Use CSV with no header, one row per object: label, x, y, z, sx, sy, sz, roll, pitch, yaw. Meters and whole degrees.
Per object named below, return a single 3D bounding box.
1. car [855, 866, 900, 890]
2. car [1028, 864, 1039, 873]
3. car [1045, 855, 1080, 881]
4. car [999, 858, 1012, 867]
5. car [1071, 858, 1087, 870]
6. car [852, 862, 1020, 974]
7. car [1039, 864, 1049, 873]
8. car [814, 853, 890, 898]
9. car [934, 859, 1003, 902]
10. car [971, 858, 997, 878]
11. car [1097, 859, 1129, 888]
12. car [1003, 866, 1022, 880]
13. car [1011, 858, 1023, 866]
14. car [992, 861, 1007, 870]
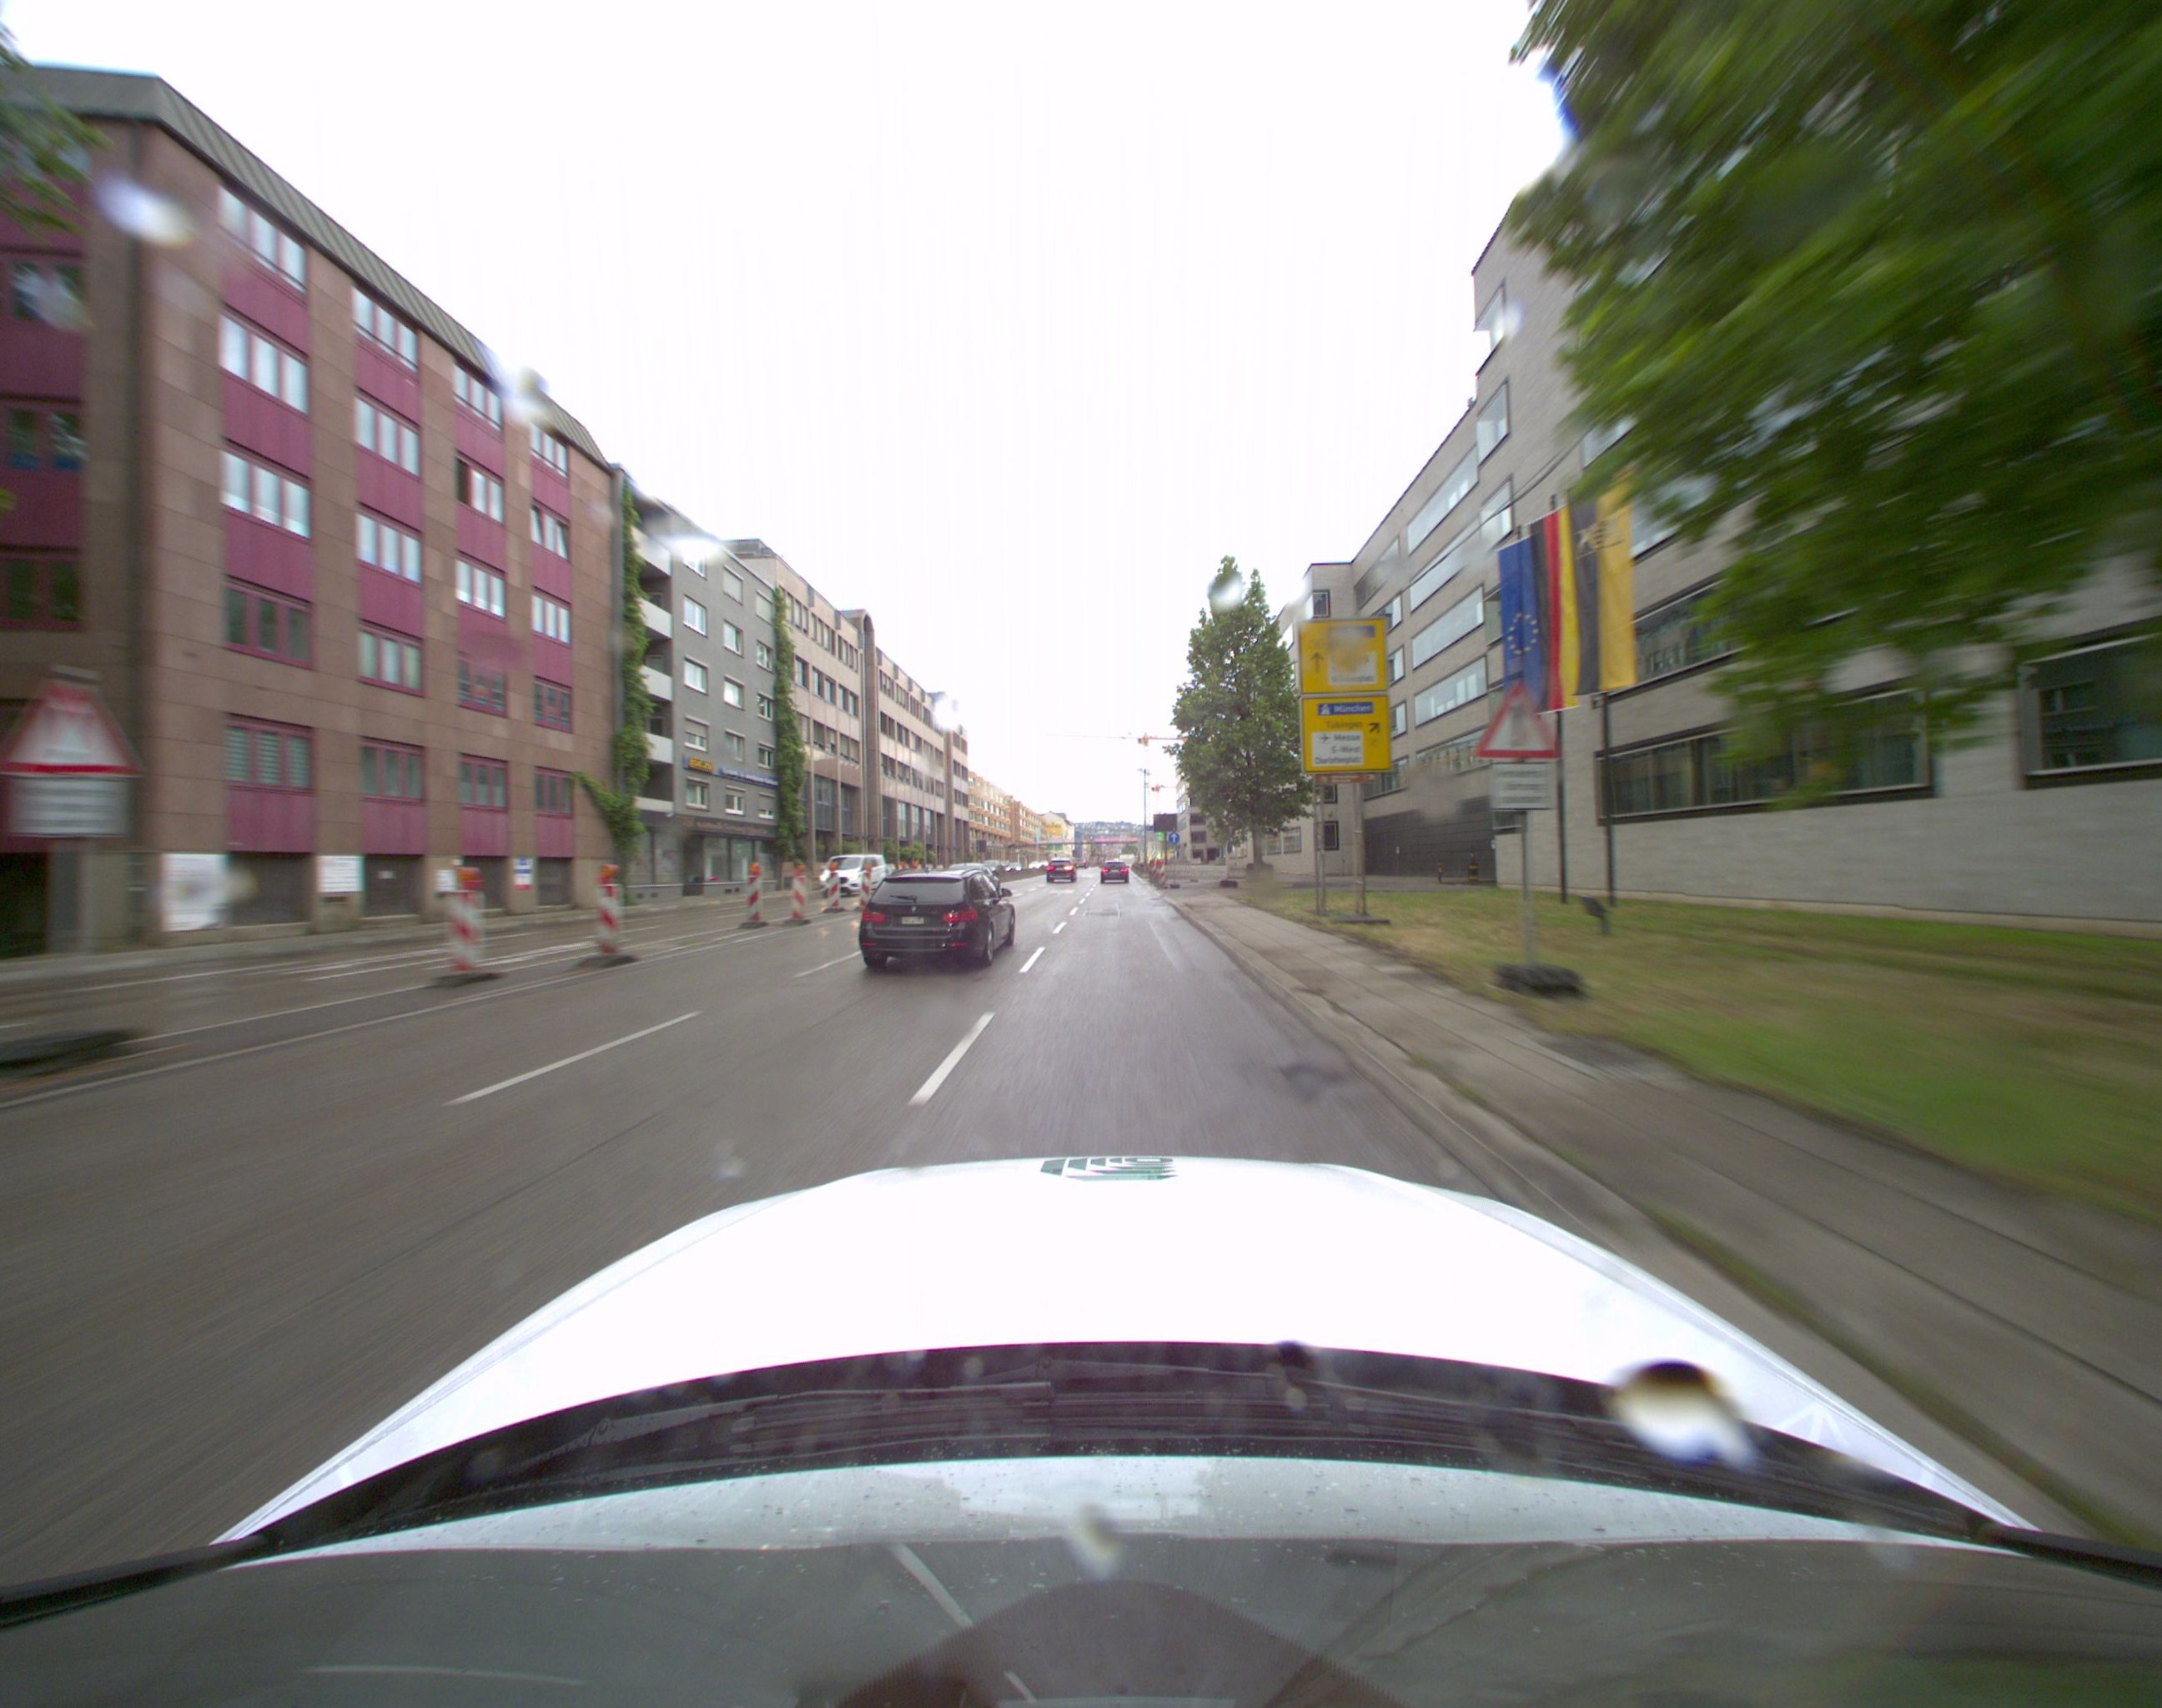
car,-13.532,1.586,54.440,1.691,1.399,4.025,-3,-1,4
car,-9.029,2.739,154.654,1.596,1.442,3.659,-2,1,2
car,-1.237,0.940,56.028,1.891,1.693,4.006,-3,-1,5
car,-15.157,1.739,163.412,1.985,1.620,4.321,-2,-1,3
car,-0.285,1.522,125.791,1.891,1.693,4.006,-3,-1,5
car,-2.084,0.865,13.048,1.785,1.426,4.613,0,0,1
car,-7.994,3.066,174.601,1.813,1.618,4.193,-3,1,1
car,-11.203,1.021,40.210,1.986,1.990,5.292,-2,-1,2
car,-4.135,0.938,30.618,1.784,1.426,4.386,-2,-1,2
car,-9.367,1.342,79.052,1.714,1.770,4.428,-2,-1,3
car,2.100,1.205,52.536,1.891,1.693,4.005,-3,-1,4
car,-8.720,2.403,103.388,1.854,1.533,4.232,-2,-1,1
car,-14.207,1.852,180.627,1.985,1.620,4.693,-2,-1,3
car,-15.182,2.153,151.443,1.985,1.620,4.766,-2,-1,3
